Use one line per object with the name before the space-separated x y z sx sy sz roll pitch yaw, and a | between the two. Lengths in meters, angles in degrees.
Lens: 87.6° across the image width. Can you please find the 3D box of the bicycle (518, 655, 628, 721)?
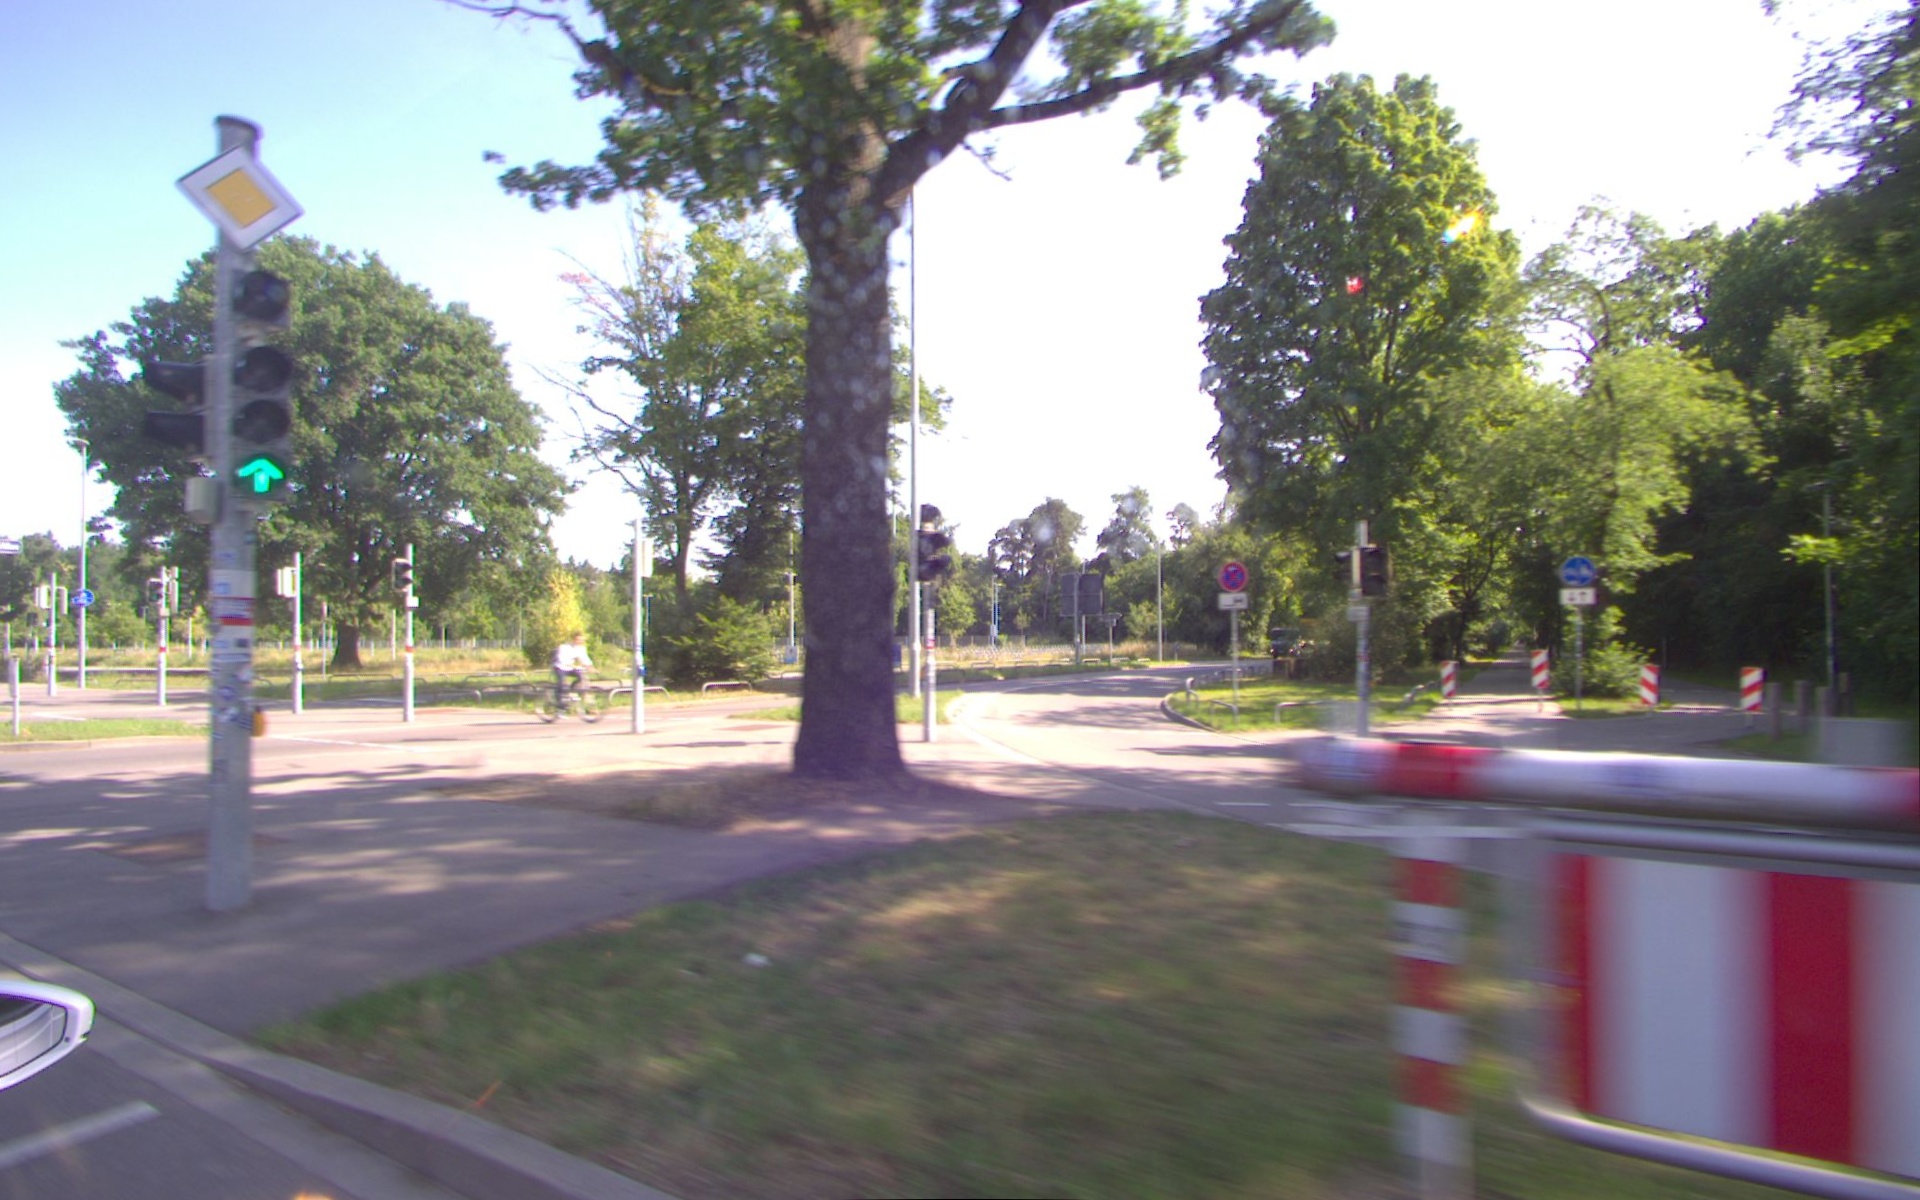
bicycle | -7.594 1.702 19.647 2.064 1.214 0.725 -1 -2 21

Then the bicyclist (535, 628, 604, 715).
bicyclist | -7.676 1.382 19.693 1.040 1.660 0.725 -1 -1 21

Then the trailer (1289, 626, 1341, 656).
trailer | 33.165 3.851 93.326 2.669 2.721 6.845 -2 -3 37

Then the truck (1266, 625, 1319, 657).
truck | 29.293 3.607 88.114 2.646 2.752 6.166 -1 -3 36
